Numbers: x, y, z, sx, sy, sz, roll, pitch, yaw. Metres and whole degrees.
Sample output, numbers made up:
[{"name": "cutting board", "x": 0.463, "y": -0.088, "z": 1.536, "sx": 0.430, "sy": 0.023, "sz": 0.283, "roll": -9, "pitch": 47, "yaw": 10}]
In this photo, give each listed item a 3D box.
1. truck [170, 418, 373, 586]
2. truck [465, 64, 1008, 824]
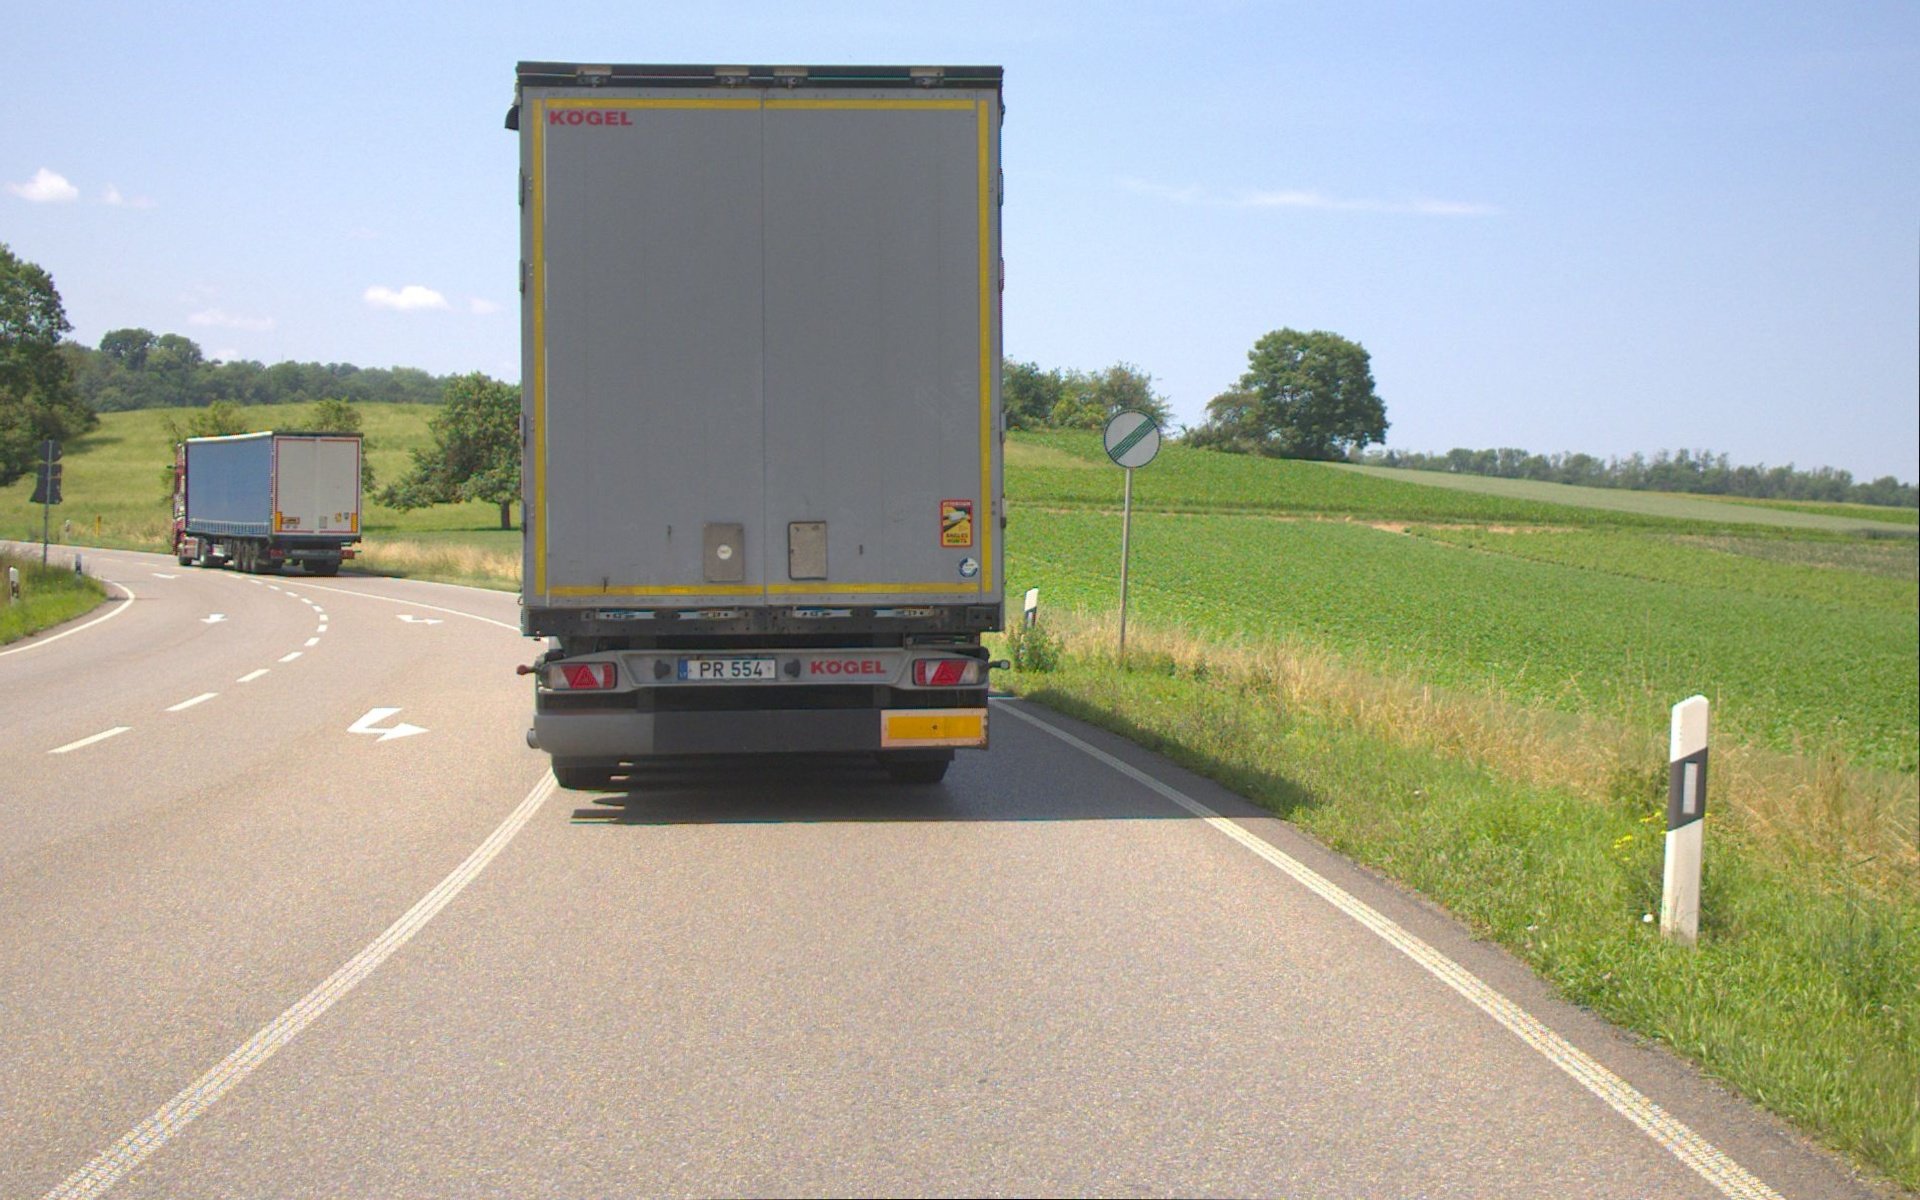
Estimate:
[{"name": "truck", "x": -20.872, "y": -2.934, "z": 103.231, "sx": 2.960, "sy": 4.568, "sz": 16.321, "roll": 2, "pitch": 1, "yaw": -22}, {"name": "truck", "x": -1.541, "y": -0.893, "z": 22.679, "sx": 2.807, "sy": 3.932, "sz": 9.592, "roll": 0, "pitch": 1, "yaw": -5}]
